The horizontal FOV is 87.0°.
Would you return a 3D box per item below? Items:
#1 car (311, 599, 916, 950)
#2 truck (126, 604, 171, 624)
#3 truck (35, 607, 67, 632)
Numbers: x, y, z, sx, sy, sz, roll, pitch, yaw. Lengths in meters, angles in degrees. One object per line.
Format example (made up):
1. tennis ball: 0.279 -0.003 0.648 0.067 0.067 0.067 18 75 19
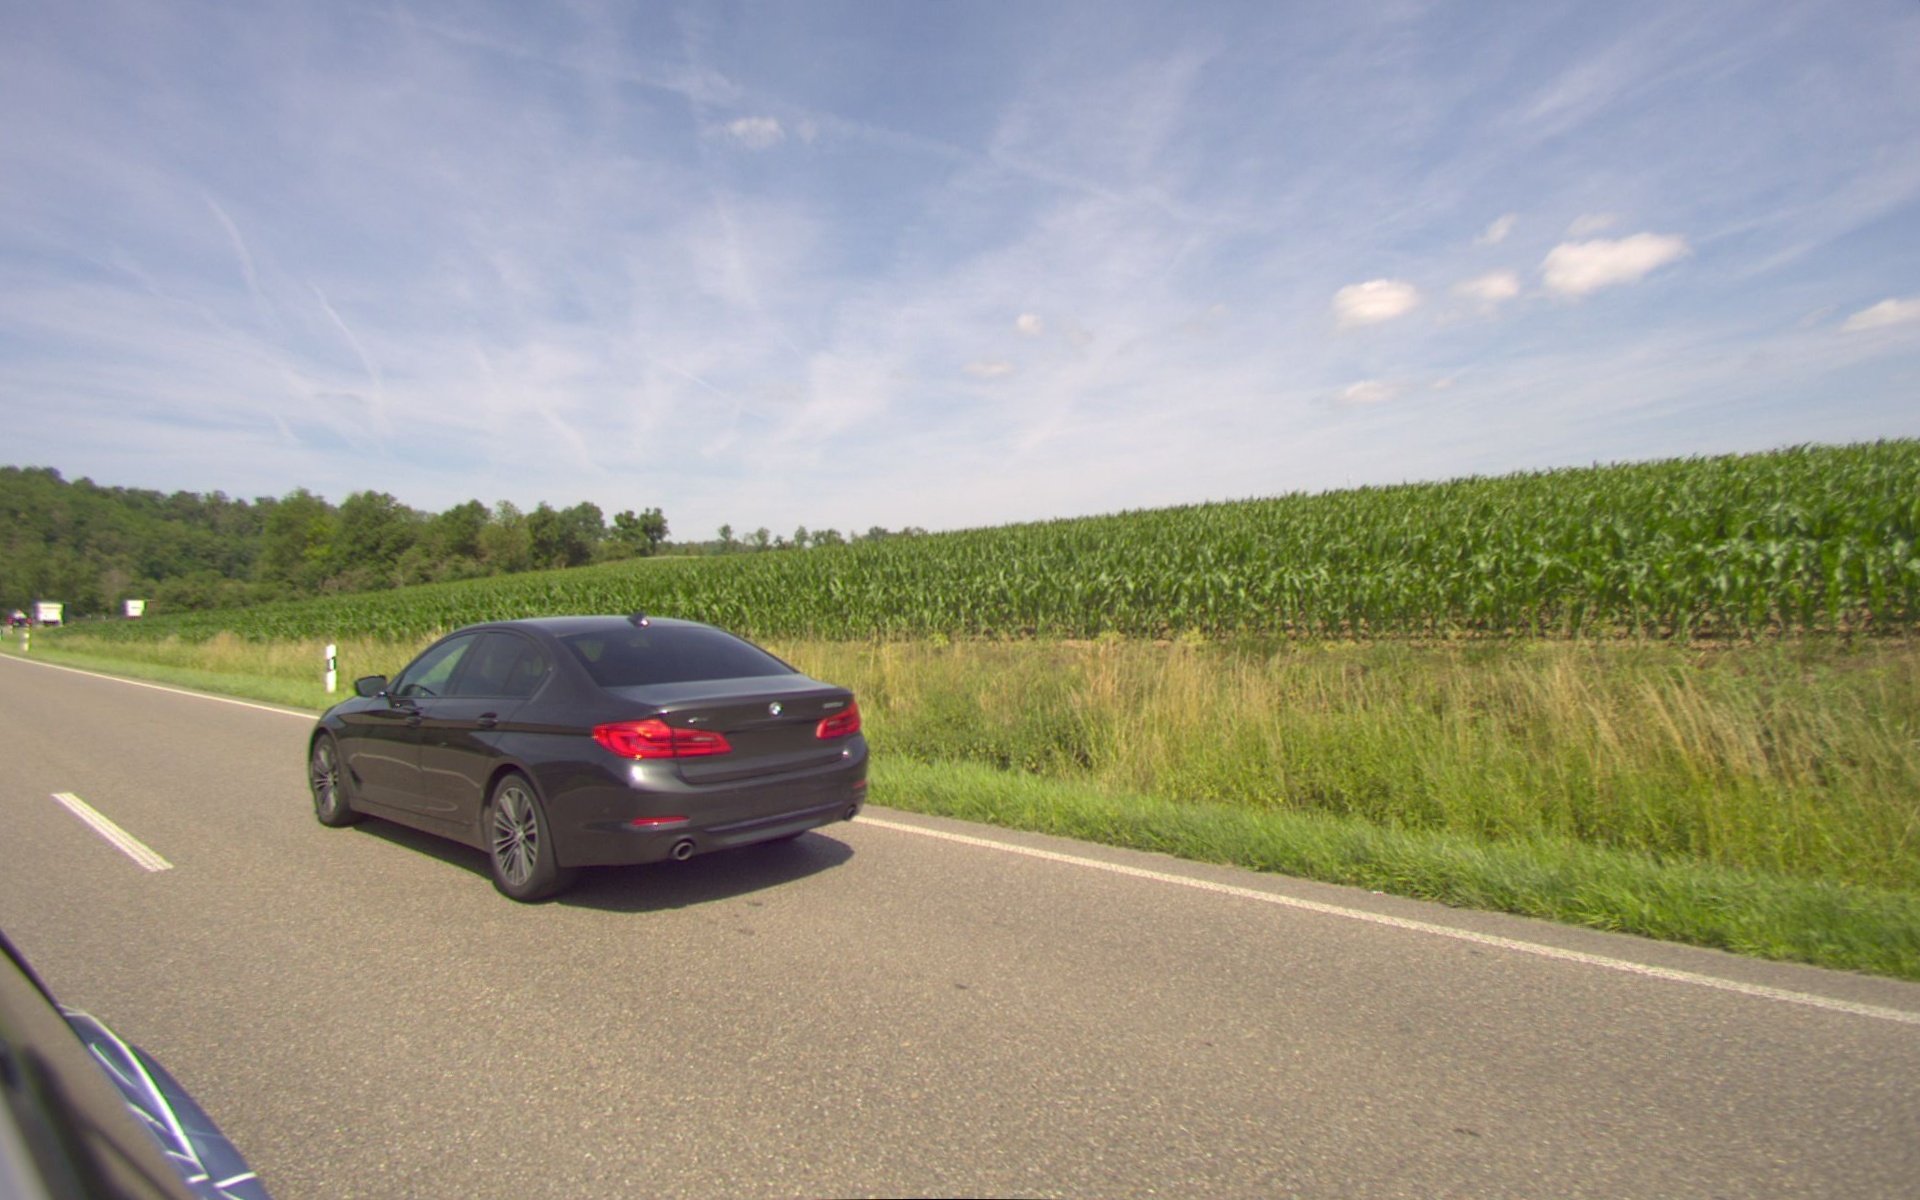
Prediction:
1. car: -2.410 0.780 6.315 4.349 1.468 1.655 -2 -1 42
2. truck: -168.769 2.907 210.668 2.732 4.029 17.083 0 -1 -23
3. truck: -134.941 2.852 150.325 2.705 3.606 9.748 0 -1 -37
